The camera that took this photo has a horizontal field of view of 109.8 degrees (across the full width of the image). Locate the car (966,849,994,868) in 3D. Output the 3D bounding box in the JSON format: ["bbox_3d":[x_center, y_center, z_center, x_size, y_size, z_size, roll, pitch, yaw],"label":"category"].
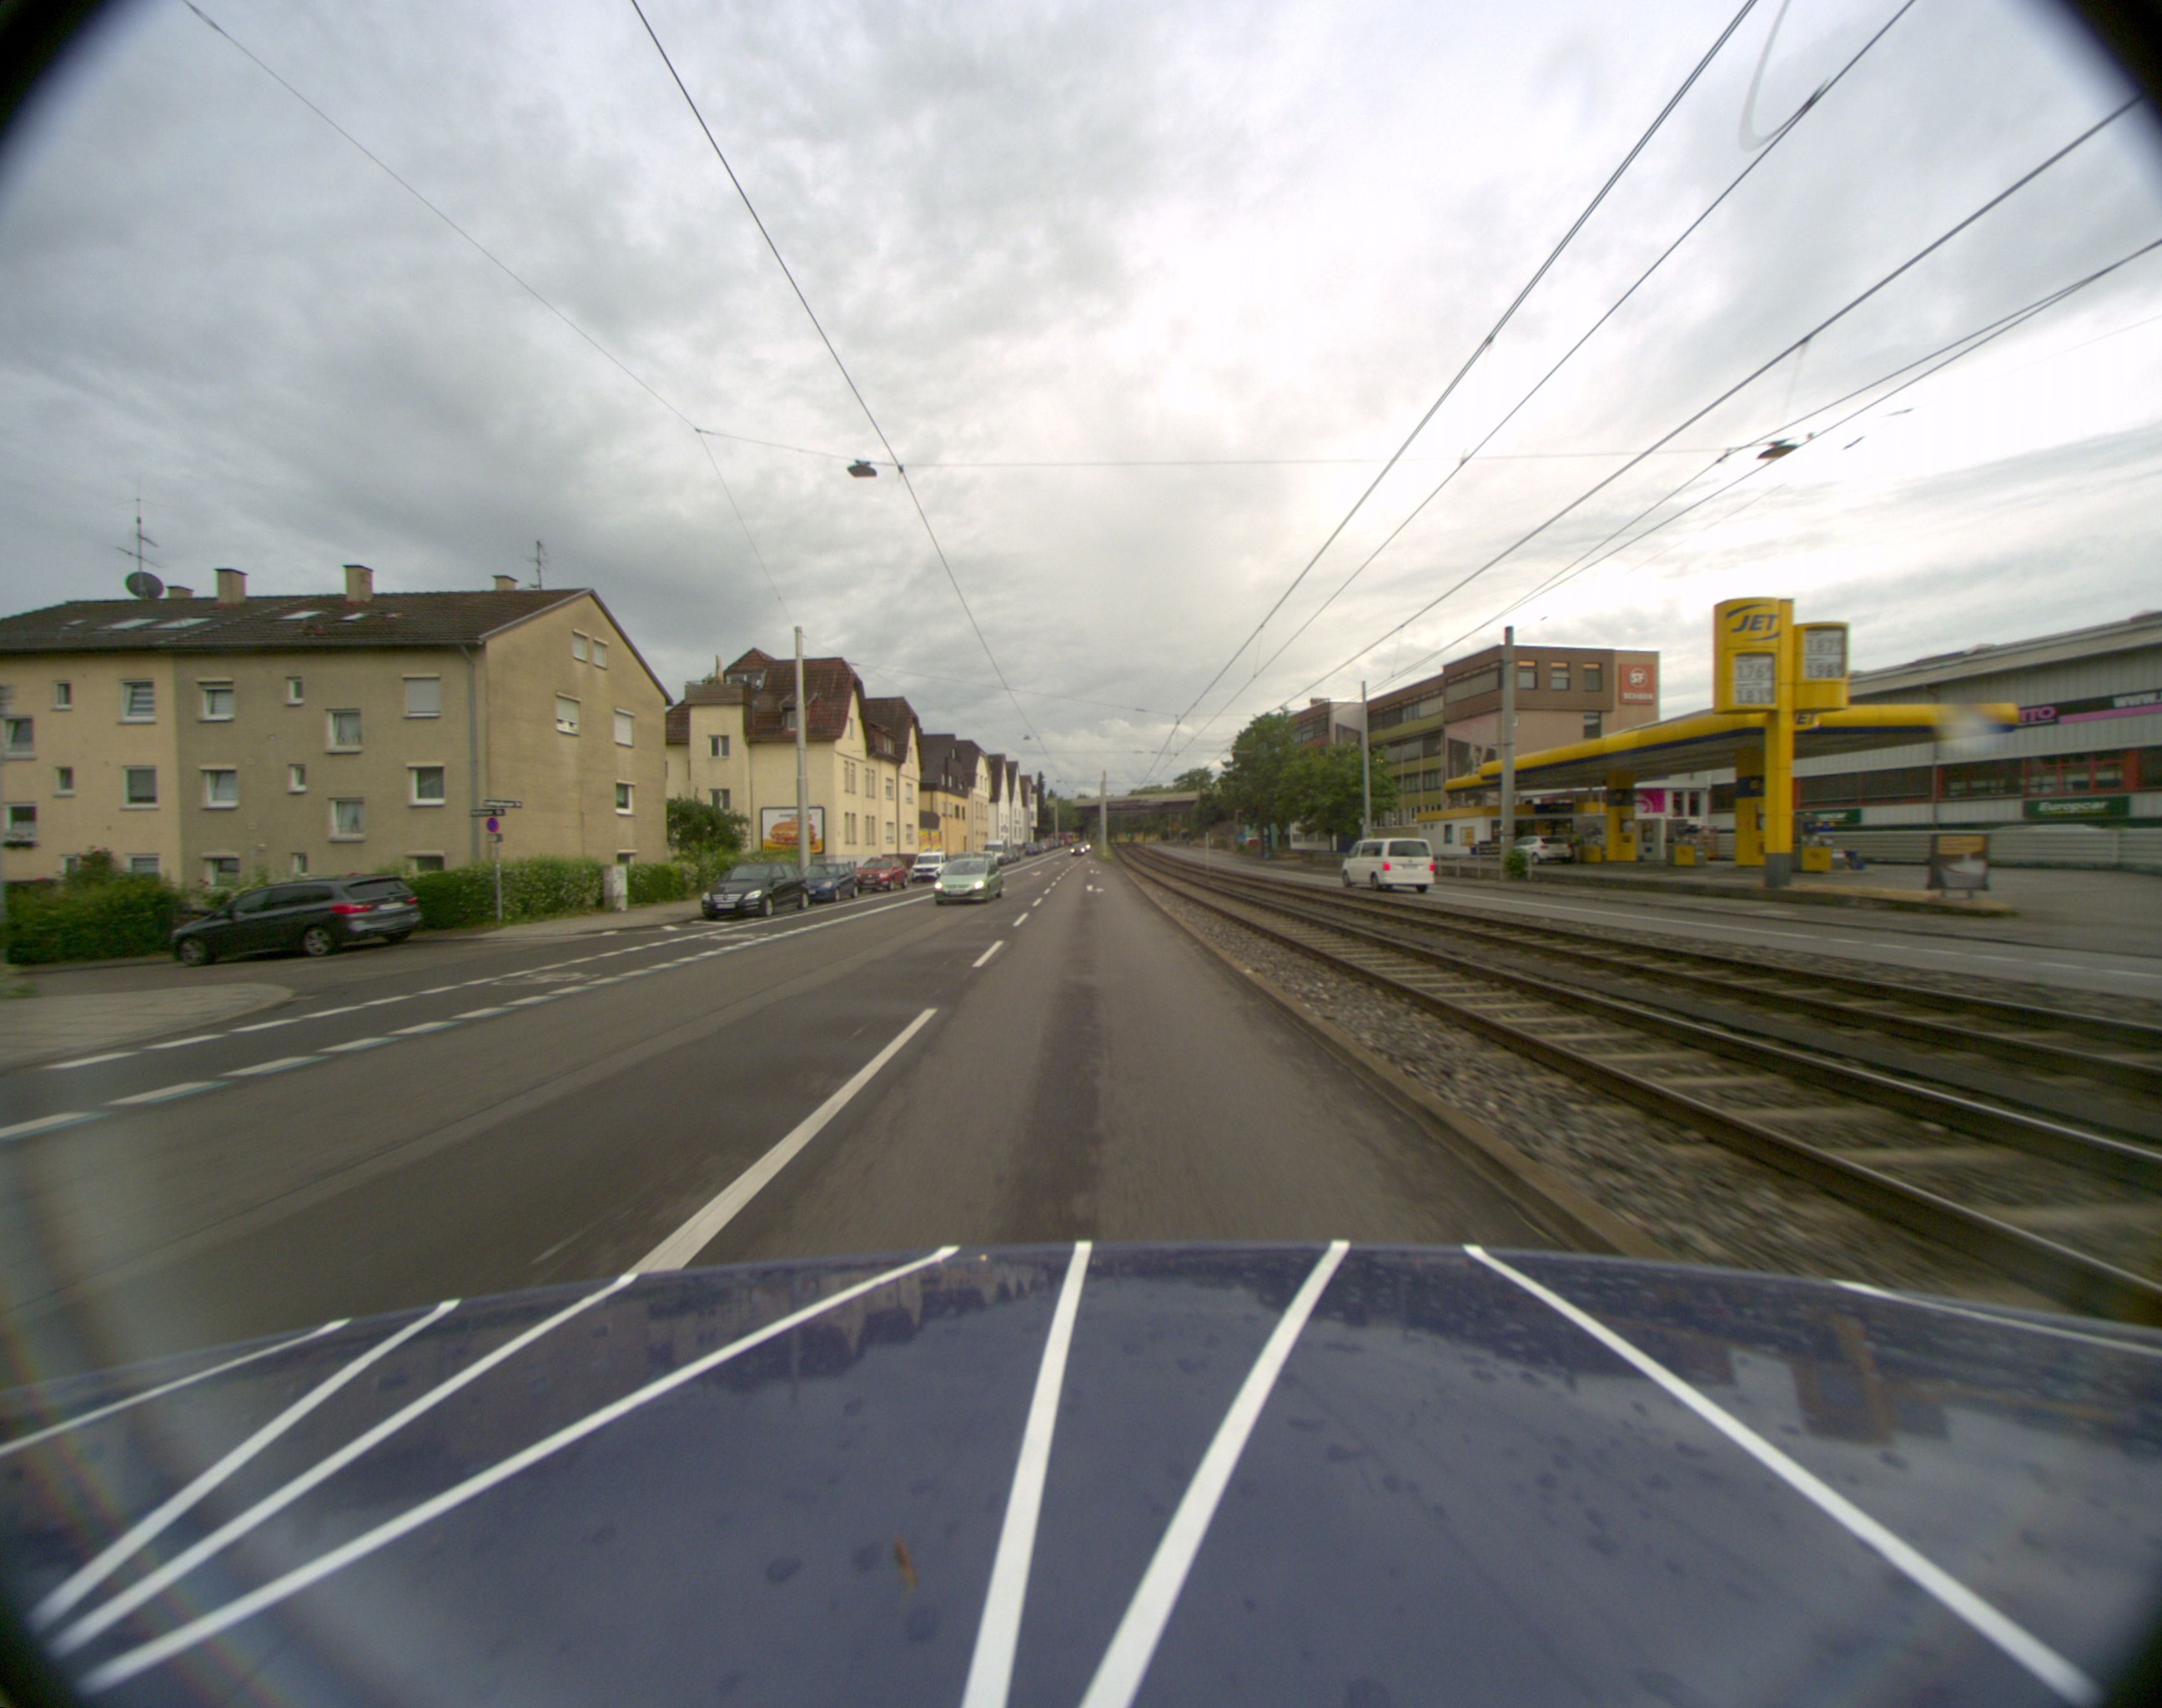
[{"bbox_3d":[-8.304,0.342,62.960,1.605,1.394,3.791,-2,2,2],"label":"car"}]

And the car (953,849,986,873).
[{"bbox_3d":[-8.438,0.484,57.880,1.705,1.557,4.281,-2,2,2],"label":"car"}]

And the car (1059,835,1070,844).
[{"bbox_3d":[-3.205,-2.912,148.959,1.726,1.539,4.200,-2,2,3],"label":"car"}]

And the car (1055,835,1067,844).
[{"bbox_3d":[-3.786,-2.812,143.190,1.726,1.539,4.200,-2,2,3],"label":"car"}]

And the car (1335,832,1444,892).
[{"bbox_3d":[11.553,0.254,28.904,1.999,2.002,5.059,1,1,0],"label":"car"}]

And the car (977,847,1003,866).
[{"bbox_3d":[-8.056,0.175,67.770,1.605,1.456,4.200,-2,2,2],"label":"car"}]

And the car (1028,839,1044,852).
[{"bbox_3d":[-6.178,-1.165,105.075,1.726,1.539,4.200,-2,2,3],"label":"car"}]

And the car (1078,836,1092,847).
[{"bbox_3d":[0.600,-1.832,111.114,1.888,1.417,4.199,-2,2,0],"label":"car"}]

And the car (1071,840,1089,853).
[{"bbox_3d":[-0.100,-1.002,95.373,1.887,1.417,4.200,-2,2,4],"label":"car"}]

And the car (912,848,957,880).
[{"bbox_3d":[-8.930,0.586,46.532,1.852,1.746,4.520,-2,1,-1],"label":"car"}]

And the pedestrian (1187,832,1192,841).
[{"bbox_3d":[19.471,-3.098,136.676,0.747,1.636,1.021,-1,2,2],"label":"pedestrian"}]

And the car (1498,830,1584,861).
[{"bbox_3d":[23.400,-0.457,38.826,1.775,1.408,4.073,-2,2,-2],"label":"car"}]

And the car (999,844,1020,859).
[{"bbox_3d":[-7.530,-0.284,80.285,1.726,1.338,4.083,-2,2,0],"label":"car"}]

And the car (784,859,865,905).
[{"bbox_3d":[-9.615,0.994,28.796,1.671,1.435,3.927,-2,1,-1],"label":"car"}]

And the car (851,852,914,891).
[{"bbox_3d":[-9.441,0.801,36.527,1.841,1.619,4.098,-2,1,1],"label":"car"}]

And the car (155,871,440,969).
[{"bbox_3d":[-16.895,1.391,16.532,4.283,1.646,1.879,-4,2,4],"label":"car"}]

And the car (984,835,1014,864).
[{"bbox_3d":[-7.846,-0.506,73.444,2.045,2.485,5.919,-2,2,1],"label":"car"}]

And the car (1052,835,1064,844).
[{"bbox_3d":[-4.161,-2.635,137.305,1.726,1.539,4.200,-2,2,3],"label":"car"}]

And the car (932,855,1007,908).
[{"bbox_3d":[-3.721,0.864,26.129,1.888,1.441,4.199,-2,2,0],"label":"car"}]

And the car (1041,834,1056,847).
[{"bbox_3d":[-5.195,-2.175,121.397,1.977,1.984,4.434,-2,2,2],"label":"car"}]

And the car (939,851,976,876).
[{"bbox_3d":[-8.459,0.594,52.356,1.690,1.503,4.136,-2,1,2],"label":"car"}]

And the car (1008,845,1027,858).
[{"bbox_3d":[-7.158,-0.317,86.590,1.726,1.338,4.199,-2,2,0],"label":"car"}]

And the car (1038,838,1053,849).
[{"bbox_3d":[-5.430,-1.636,115.729,1.726,1.539,4.200,-2,2,3],"label":"car"}]

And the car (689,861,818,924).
[{"bbox_3d":[-9.635,1.065,22.784,1.841,1.525,4.438,-2,1,0],"label":"car"}]
